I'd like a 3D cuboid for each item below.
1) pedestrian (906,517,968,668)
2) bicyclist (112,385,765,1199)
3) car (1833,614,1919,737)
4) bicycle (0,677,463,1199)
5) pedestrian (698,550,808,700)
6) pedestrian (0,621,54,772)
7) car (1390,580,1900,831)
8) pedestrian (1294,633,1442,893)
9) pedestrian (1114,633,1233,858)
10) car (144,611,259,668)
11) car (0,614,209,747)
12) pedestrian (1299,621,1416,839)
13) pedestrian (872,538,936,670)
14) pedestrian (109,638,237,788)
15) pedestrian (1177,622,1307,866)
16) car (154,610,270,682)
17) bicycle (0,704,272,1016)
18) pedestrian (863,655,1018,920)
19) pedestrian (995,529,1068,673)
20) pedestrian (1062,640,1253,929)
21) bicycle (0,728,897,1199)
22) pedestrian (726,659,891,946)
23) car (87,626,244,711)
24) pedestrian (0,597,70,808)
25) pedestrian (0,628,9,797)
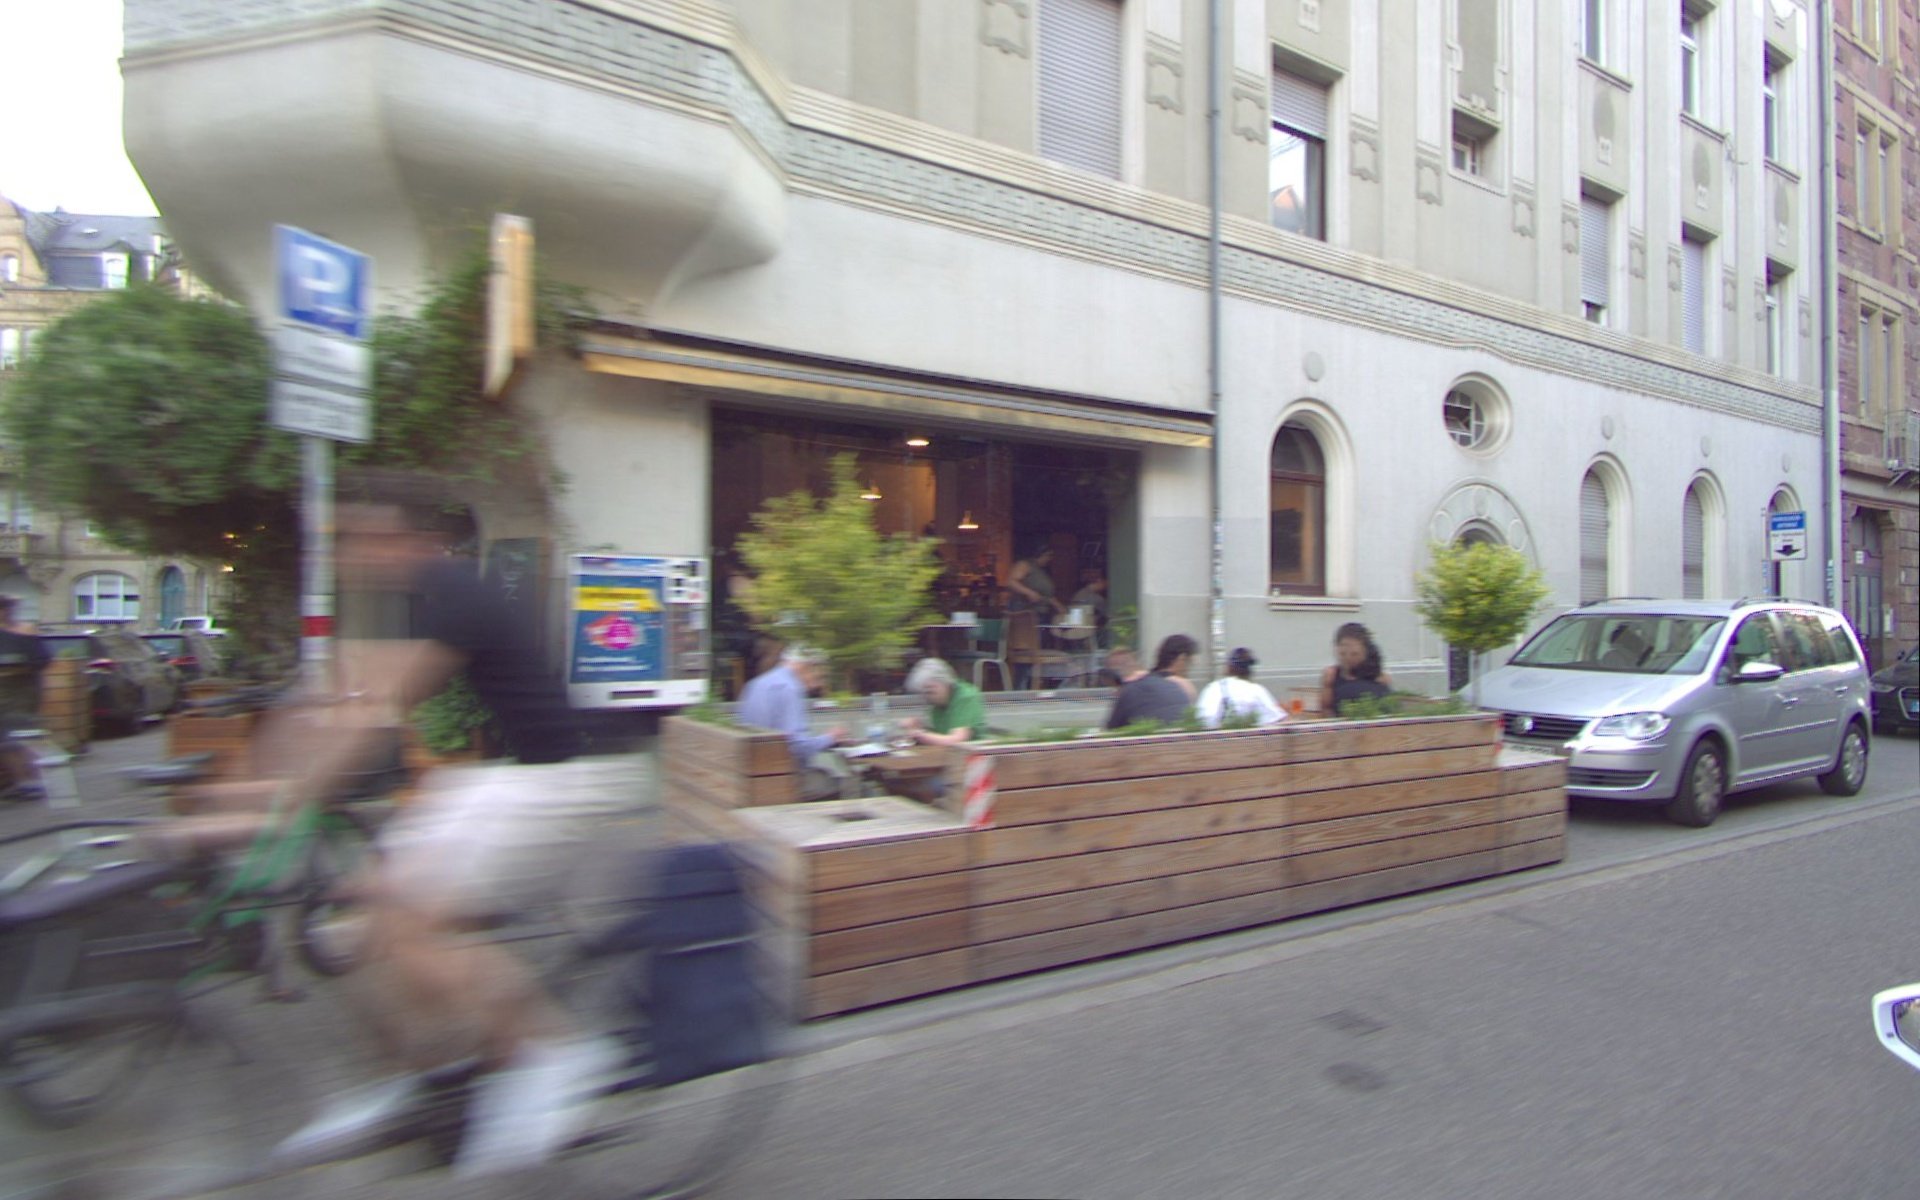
[{"bbox_3d":[-0.269,-0.080,11.531,0.512,1.676,0.536,1,-1,-31],"label":"pedestrian"},{"bbox_3d":[-1.076,0.504,2.232,1.129,1.707,0.600,1,-1,-31],"label":"bicyclist"},{"bbox_3d":[13.714,0.960,13.371,4.482,1.491,1.902,1,0,-31],"label":"car"},{"bbox_3d":[-2.322,0.888,3.316,0.491,1.109,2.115,-1,0,-6],"label":"bicycle"},{"bbox_3d":[-1.709,0.201,8.267,0.739,1.169,0.554,1,-1,-32],"label":"pedestrian"},{"bbox_3d":[-9.903,0.986,10.418,0.637,1.520,0.569,1,-2,-32],"label":"pedestrian"},{"bbox_3d":[5.813,0.727,8.427,4.265,1.612,1.983,1,-2,-32],"label":"car"},{"bbox_3d":[2.319,0.879,5.713,0.661,1.368,0.481,1,-1,-32],"label":"pedestrian"},{"bbox_3d":[1.383,0.904,6.527,0.604,1.368,0.466,1,-1,-32],"label":"pedestrian"},{"bbox_3d":[-27.223,1.402,35.999,5.084,1.884,1.803,0,-3,36],"label":"car"},{"bbox_3d":[-12.261,1.081,14.481,1.720,1.639,4.118,4,-3,-30],"label":"car"},{"bbox_3d":[2.639,0.824,6.672,0.534,1.368,0.513,1,-1,-33],"label":"pedestrian"},{"bbox_3d":[-0.621,0.047,11.034,0.512,1.401,0.536,1,-1,-31],"label":"pedestrian"},{"bbox_3d":[-6.890,0.960,8.835,0.770,1.230,0.687,1,-1,-30],"label":"pedestrian"},{"bbox_3d":[1.687,0.820,6.027,0.604,1.368,0.466,1,-1,-32],"label":"pedestrian"},{"bbox_3d":[-18.127,1.107,24.517,1.720,1.567,4.118,3,-3,-30],"label":"car"},{"bbox_3d":[-3.575,0.946,3.666,1.691,1.026,0.423,-1,0,-17],"label":"bicycle"},{"bbox_3d":[-0.114,0.996,5.622,0.696,1.342,0.534,1,-1,-30],"label":"pedestrian"},{"bbox_3d":[0.703,0.016,9.955,0.512,1.368,0.536,1,-1,-30],"label":"pedestrian"},{"bbox_3d":[1.019,0.887,5.197,0.762,1.342,0.606,1,-1,-32],"label":"pedestrian"},{"bbox_3d":[-1.110,0.888,2.212,1.882,1.054,0.611,1,-1,-31],"label":"bicycle"},{"bbox_3d":[-0.791,0.993,5.219,0.696,1.342,0.534,1,-1,-30],"label":"pedestrian"},{"bbox_3d":[-15.197,1.265,19.431,1.720,1.448,4.118,3,-3,-30],"label":"car"},{"bbox_3d":[-7.584,0.805,8.065,0.540,1.642,0.538,1,-2,-31],"label":"pedestrian"},{"bbox_3d":[-8.515,0.967,8.429,0.637,1.462,0.569,1,-2,-30],"label":"pedestrian"}]
